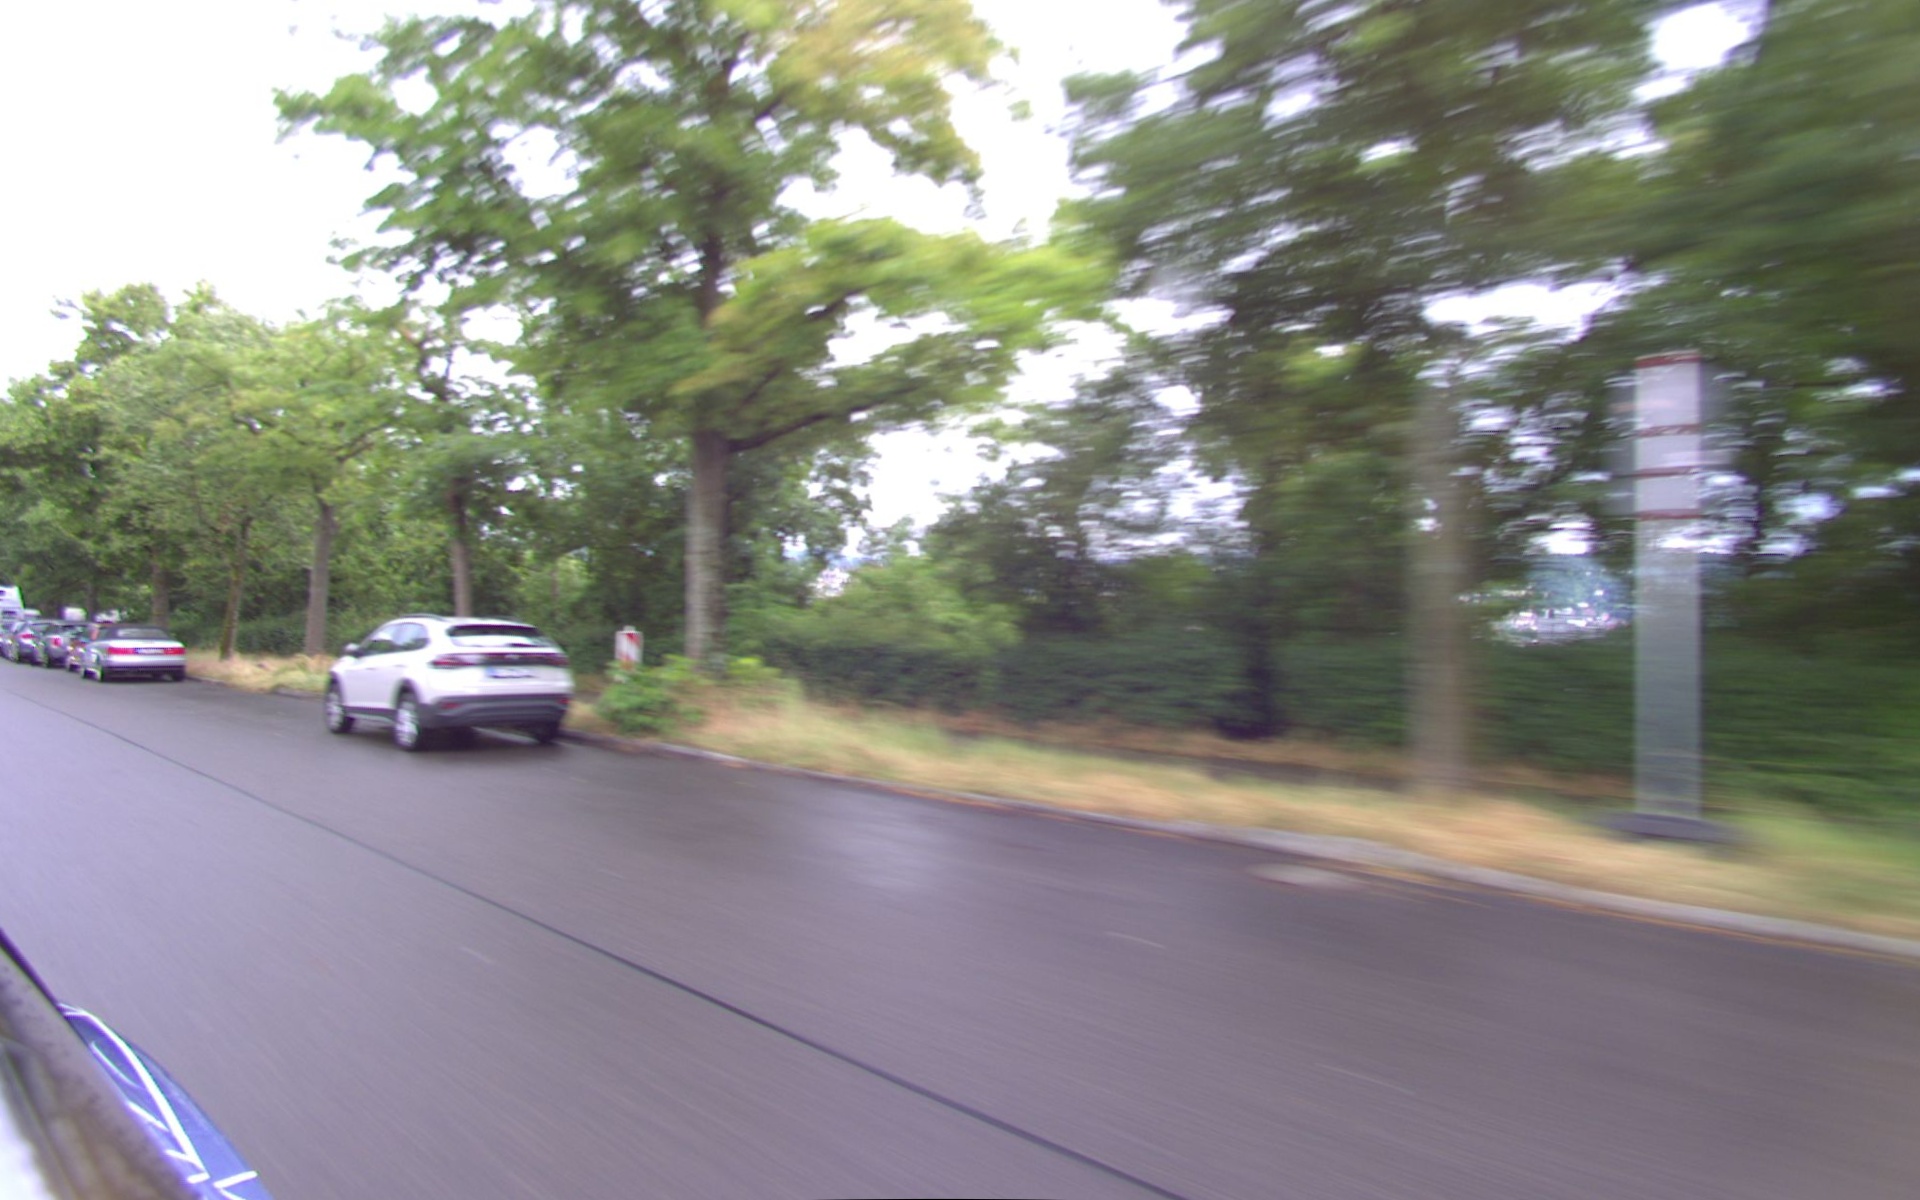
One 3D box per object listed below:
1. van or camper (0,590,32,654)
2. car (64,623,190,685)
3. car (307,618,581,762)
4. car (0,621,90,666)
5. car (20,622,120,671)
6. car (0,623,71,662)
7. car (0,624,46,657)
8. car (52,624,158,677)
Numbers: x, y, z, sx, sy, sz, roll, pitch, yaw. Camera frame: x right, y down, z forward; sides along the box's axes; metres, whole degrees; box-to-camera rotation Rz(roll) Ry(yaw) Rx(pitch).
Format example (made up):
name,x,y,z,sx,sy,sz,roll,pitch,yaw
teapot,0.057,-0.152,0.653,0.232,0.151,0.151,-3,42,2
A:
name,x,y,z,sx,sy,sz,roll,pitch,yaw
van or camper,-48.044,1.046,50.037,6.560,3.050,2.479,0,-2,42
car,-20.858,1.308,25.275,4.417,1.413,1.736,-1,-3,42
car,-6.476,0.972,12.472,4.257,1.448,1.670,0,-2,44
car,-32.005,1.501,35.348,4.715,1.416,1.971,-1,-3,44
car,-28.368,1.449,32.202,4.715,1.416,1.971,-1,-3,44
car,-35.598,1.635,38.793,1.970,1.416,4.716,4,-4,-44
car,-40.291,1.713,42.790,5.355,1.319,1.971,-2,-5,43
car,-24.405,1.398,28.856,3.997,1.372,1.579,0,-2,39
